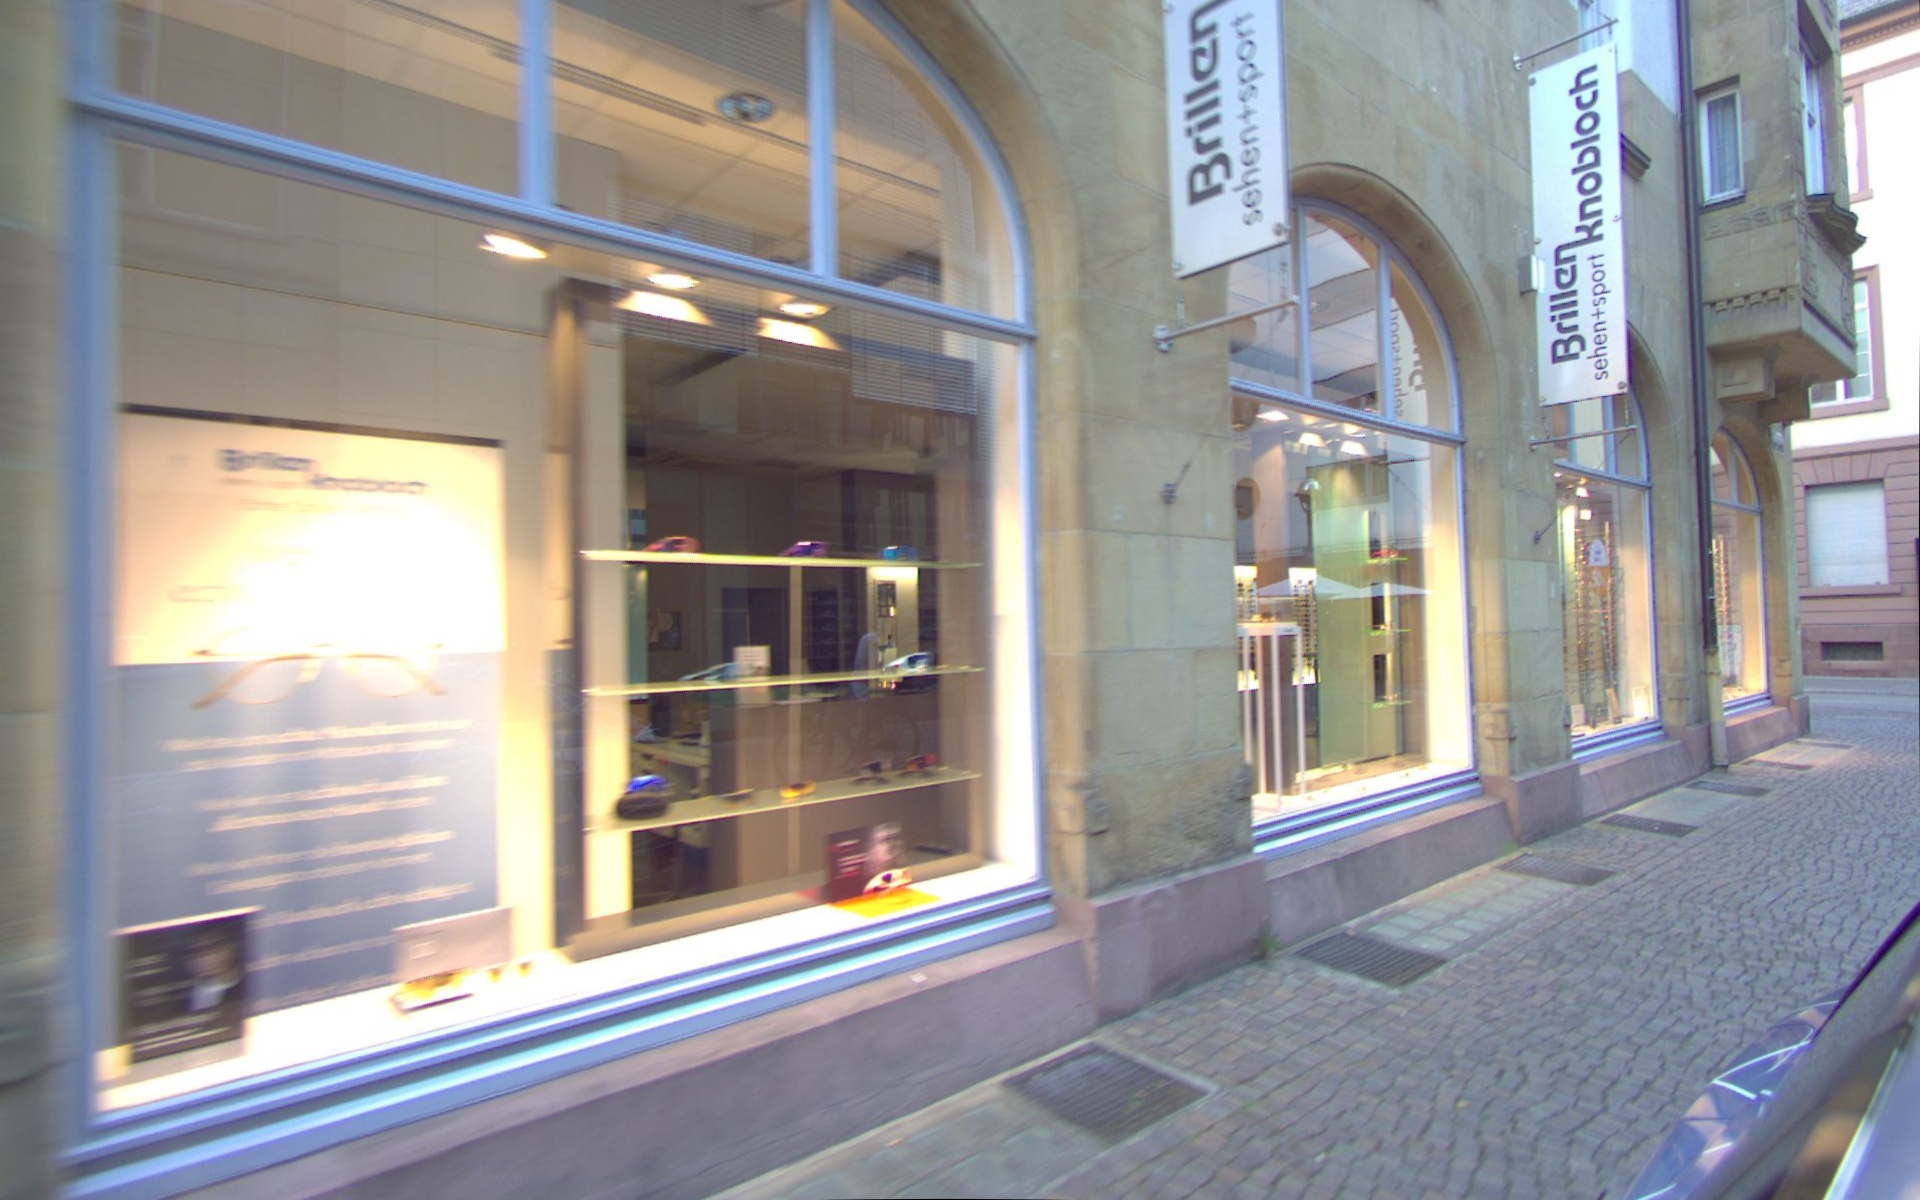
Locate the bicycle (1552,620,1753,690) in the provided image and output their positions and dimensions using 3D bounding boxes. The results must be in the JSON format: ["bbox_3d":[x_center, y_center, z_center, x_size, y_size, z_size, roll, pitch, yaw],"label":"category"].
[{"bbox_3d":[13.695,1.055,20.136,0.907,1.276,3.152,1,-2,-40],"label":"bicycle"}]

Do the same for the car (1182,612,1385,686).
[{"bbox_3d":[6.986,1.039,22.214,1.620,1.461,3.995,0,-2,-38],"label":"car"}]
